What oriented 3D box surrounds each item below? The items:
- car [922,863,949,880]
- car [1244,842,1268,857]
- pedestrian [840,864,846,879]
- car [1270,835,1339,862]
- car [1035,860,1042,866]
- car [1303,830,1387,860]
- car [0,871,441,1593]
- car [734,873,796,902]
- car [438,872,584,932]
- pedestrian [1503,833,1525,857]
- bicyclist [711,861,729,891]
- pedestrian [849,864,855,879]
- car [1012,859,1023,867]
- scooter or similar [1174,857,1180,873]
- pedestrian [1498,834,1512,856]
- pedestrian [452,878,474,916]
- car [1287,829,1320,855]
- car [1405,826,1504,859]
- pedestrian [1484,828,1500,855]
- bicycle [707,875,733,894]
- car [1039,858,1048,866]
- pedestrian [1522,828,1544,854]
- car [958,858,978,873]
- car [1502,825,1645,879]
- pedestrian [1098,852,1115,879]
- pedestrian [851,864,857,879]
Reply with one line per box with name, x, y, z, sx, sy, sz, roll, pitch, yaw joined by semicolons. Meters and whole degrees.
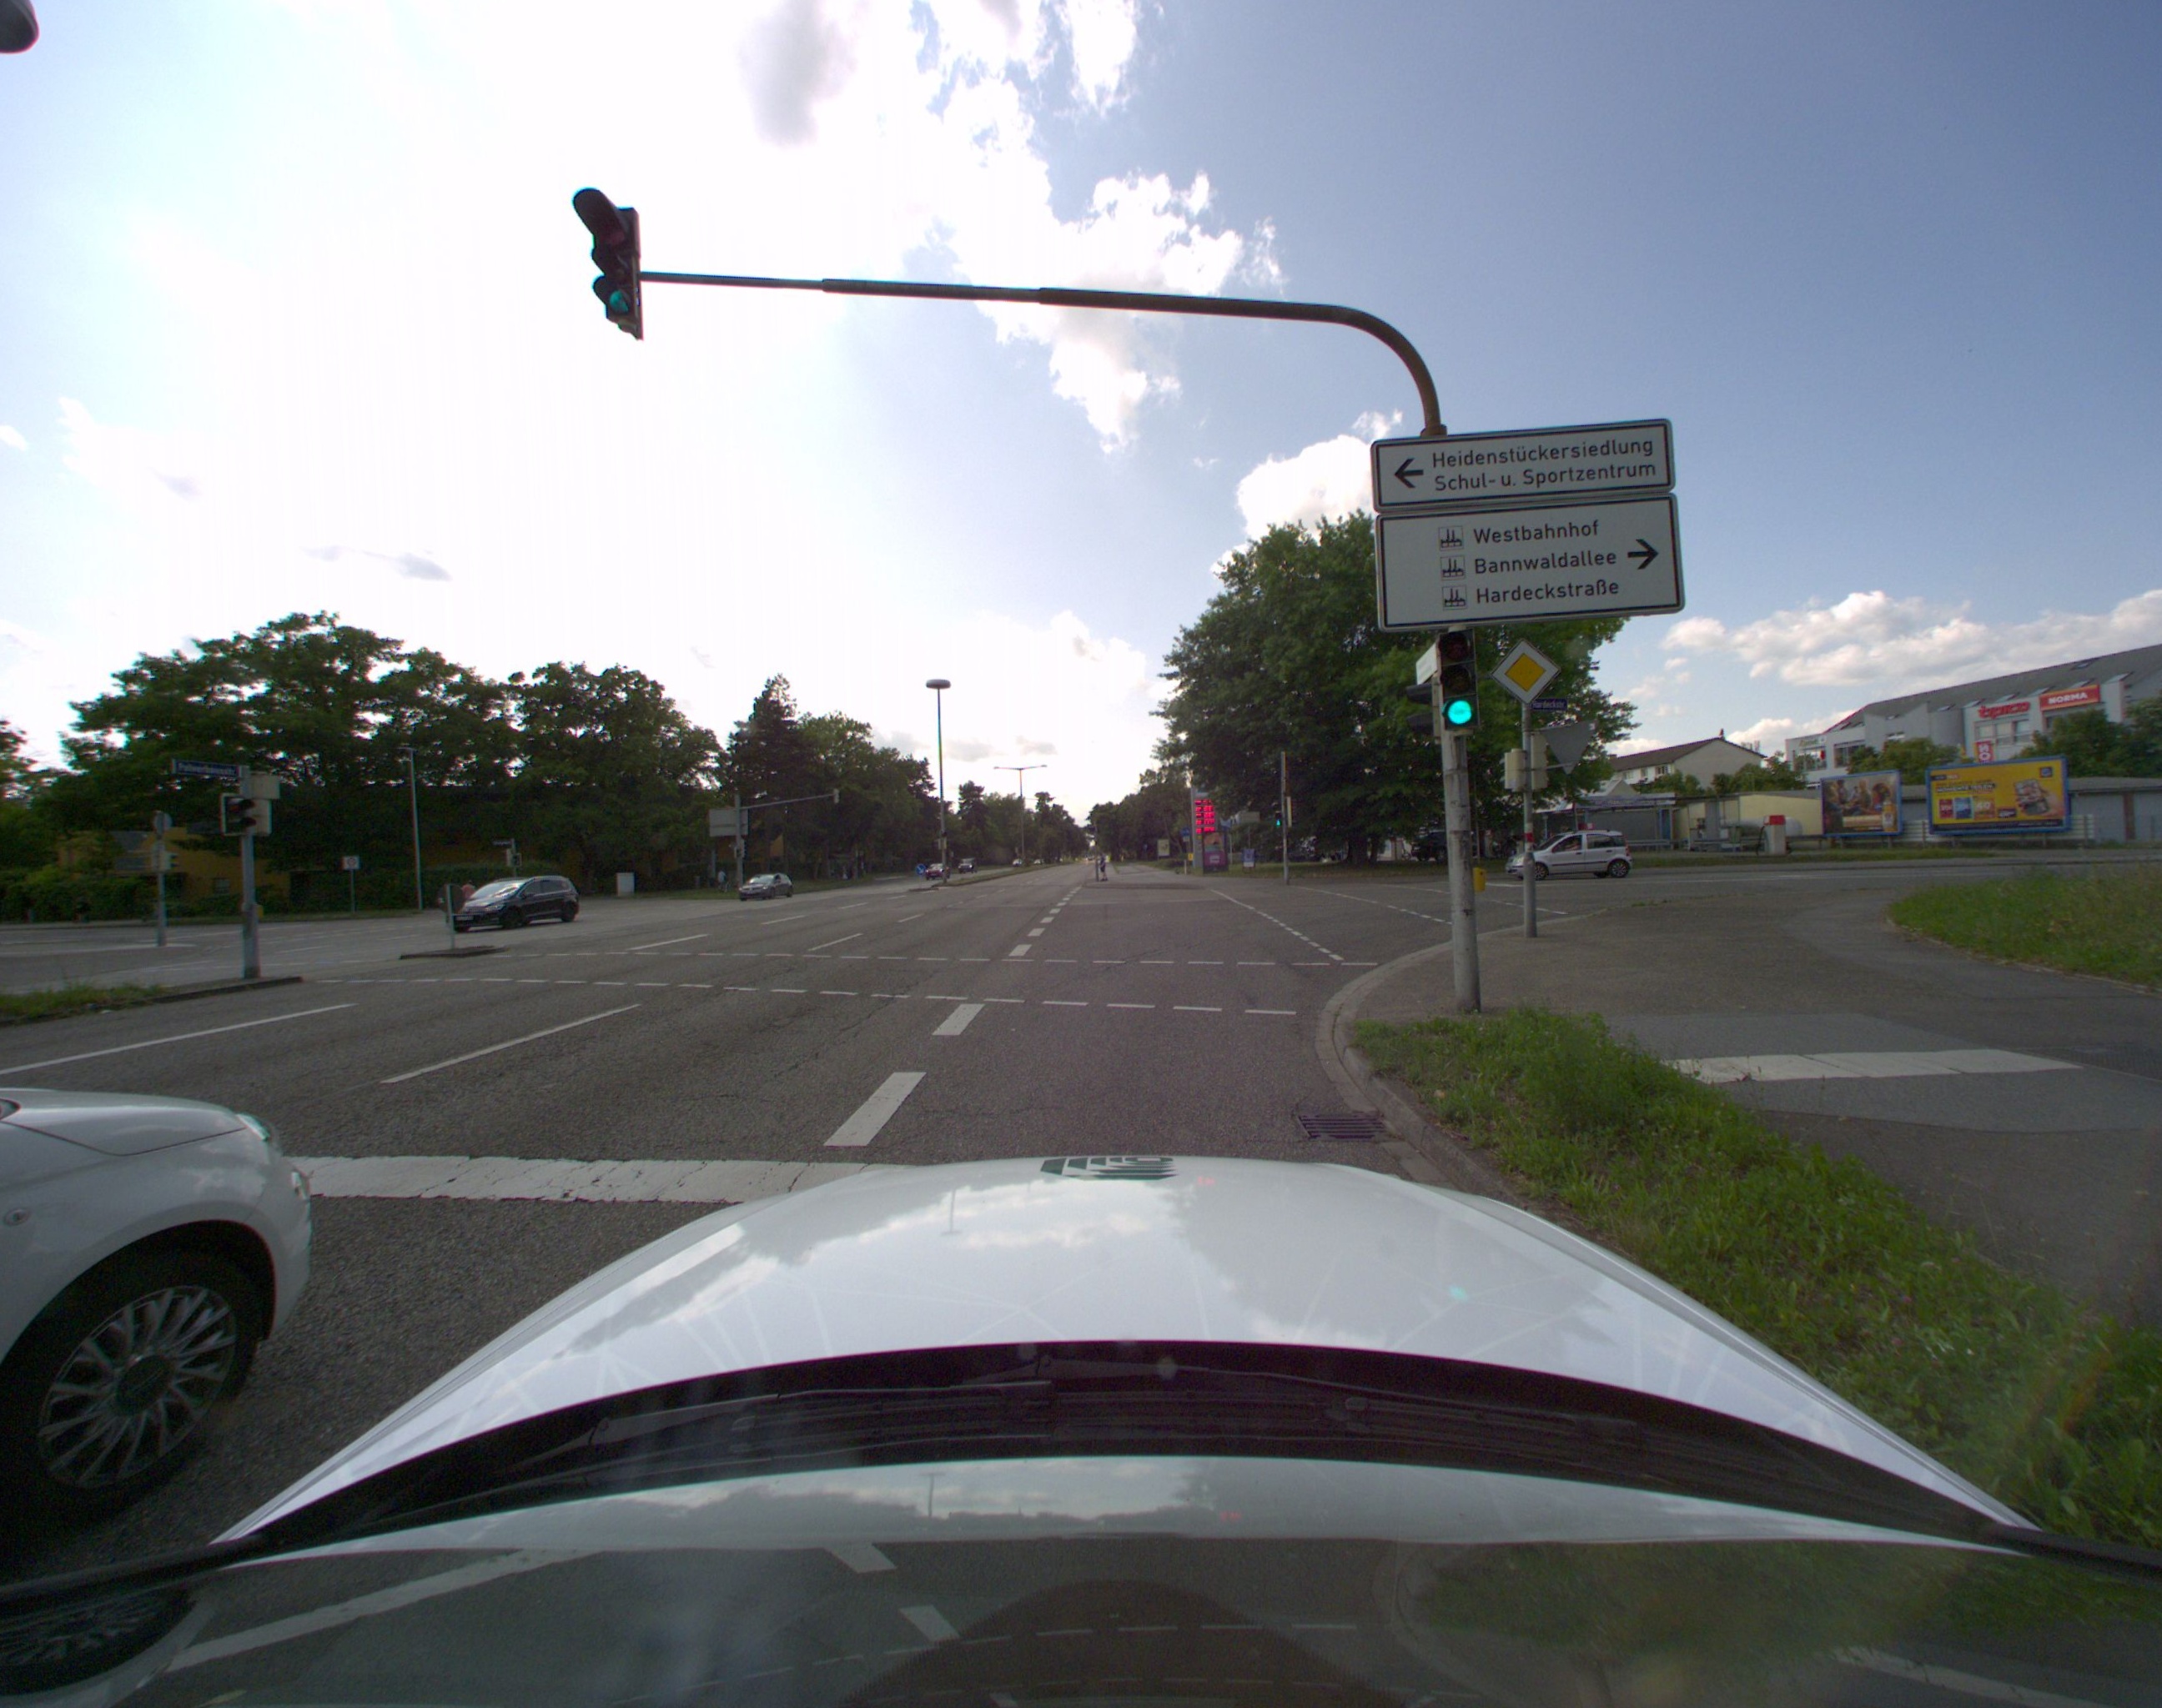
car;-13.862;1.617;77.979;1.766;1.465;4.453;-3;0;-1
car;18.710;-0.455;87.072;1.744;1.454;3.740;-3;0;0
pedestrian;-24.806;1.837;84.961;0.570;1.496;0.419;0;-1;-14
car;18.714;-0.471;68.355;5.167;2.004;2.152;-3;0;-2
car;-12.134;2.480;232.625;1.854;1.705;4.454;-3;0;0
car;18.579;-0.621;57.429;5.179;1.827;2.147;-3;0;-9
car;-3.057;0.786;1.056;1.564;1.497;3.541;0;-1;2
car;-17.517;1.812;45.377;1.587;1.372;4.085;-3;0;4
car;-18.700;1.501;26.969;1.664;1.742;4.312;-2;-1;2
pedestrian;21.828;-0.447;41.043;0.649;1.190;0.757;1;-2;-42
bicyclist;-24.151;1.462;54.508;0.749;2.013;0.831;-3;-1;-1
pedestrian;-23.973;1.834;85.167;0.570;1.496;0.419;0;-1;-14
car;-13.867;1.899;178.820;1.854;1.705;4.456;-3;0;1
scooter or similar;6.068;0.711;51.375;0.220;0.979;1.273;-3;0;2
pedestrian;30.960;-0.634;59.476;0.650;1.544;0.625;-3;-1;8
pedestrian;-29.161;2.033;38.407;0.696;1.742;0.697;-3;-1;44
car;22.909;-1.213;83.924;1.744;2.453;5.749;-3;0;0
car;20.643;-0.621;45.126;4.548;1.596;2.147;-3;0;-9
pedestrian;23.219;-0.697;46.010;0.559;1.495;0.619;0;-1;-6
bicycle;-24.123;2.036;54.503;0.752;1.119;2.114;-3;0;0
car;-9.304;1.993;203.041;1.854;1.705;4.454;-3;0;0
pedestrian;22.414;-0.633;40.385;0.649;1.255;0.757;1;-2;-42
car;-15.332;1.533;110.615;1.759;1.857;4.819;-3;0;2
car;15.561;-0.058;25.902;3.571;1.517;1.565;-2;0;14
pedestrian;1.465;0.651;47.248;0.726;1.531;0.756;-2;-1;-15
pedestrian;-23.517;1.816;84.221;0.570;1.496;0.419;0;-1;-14
